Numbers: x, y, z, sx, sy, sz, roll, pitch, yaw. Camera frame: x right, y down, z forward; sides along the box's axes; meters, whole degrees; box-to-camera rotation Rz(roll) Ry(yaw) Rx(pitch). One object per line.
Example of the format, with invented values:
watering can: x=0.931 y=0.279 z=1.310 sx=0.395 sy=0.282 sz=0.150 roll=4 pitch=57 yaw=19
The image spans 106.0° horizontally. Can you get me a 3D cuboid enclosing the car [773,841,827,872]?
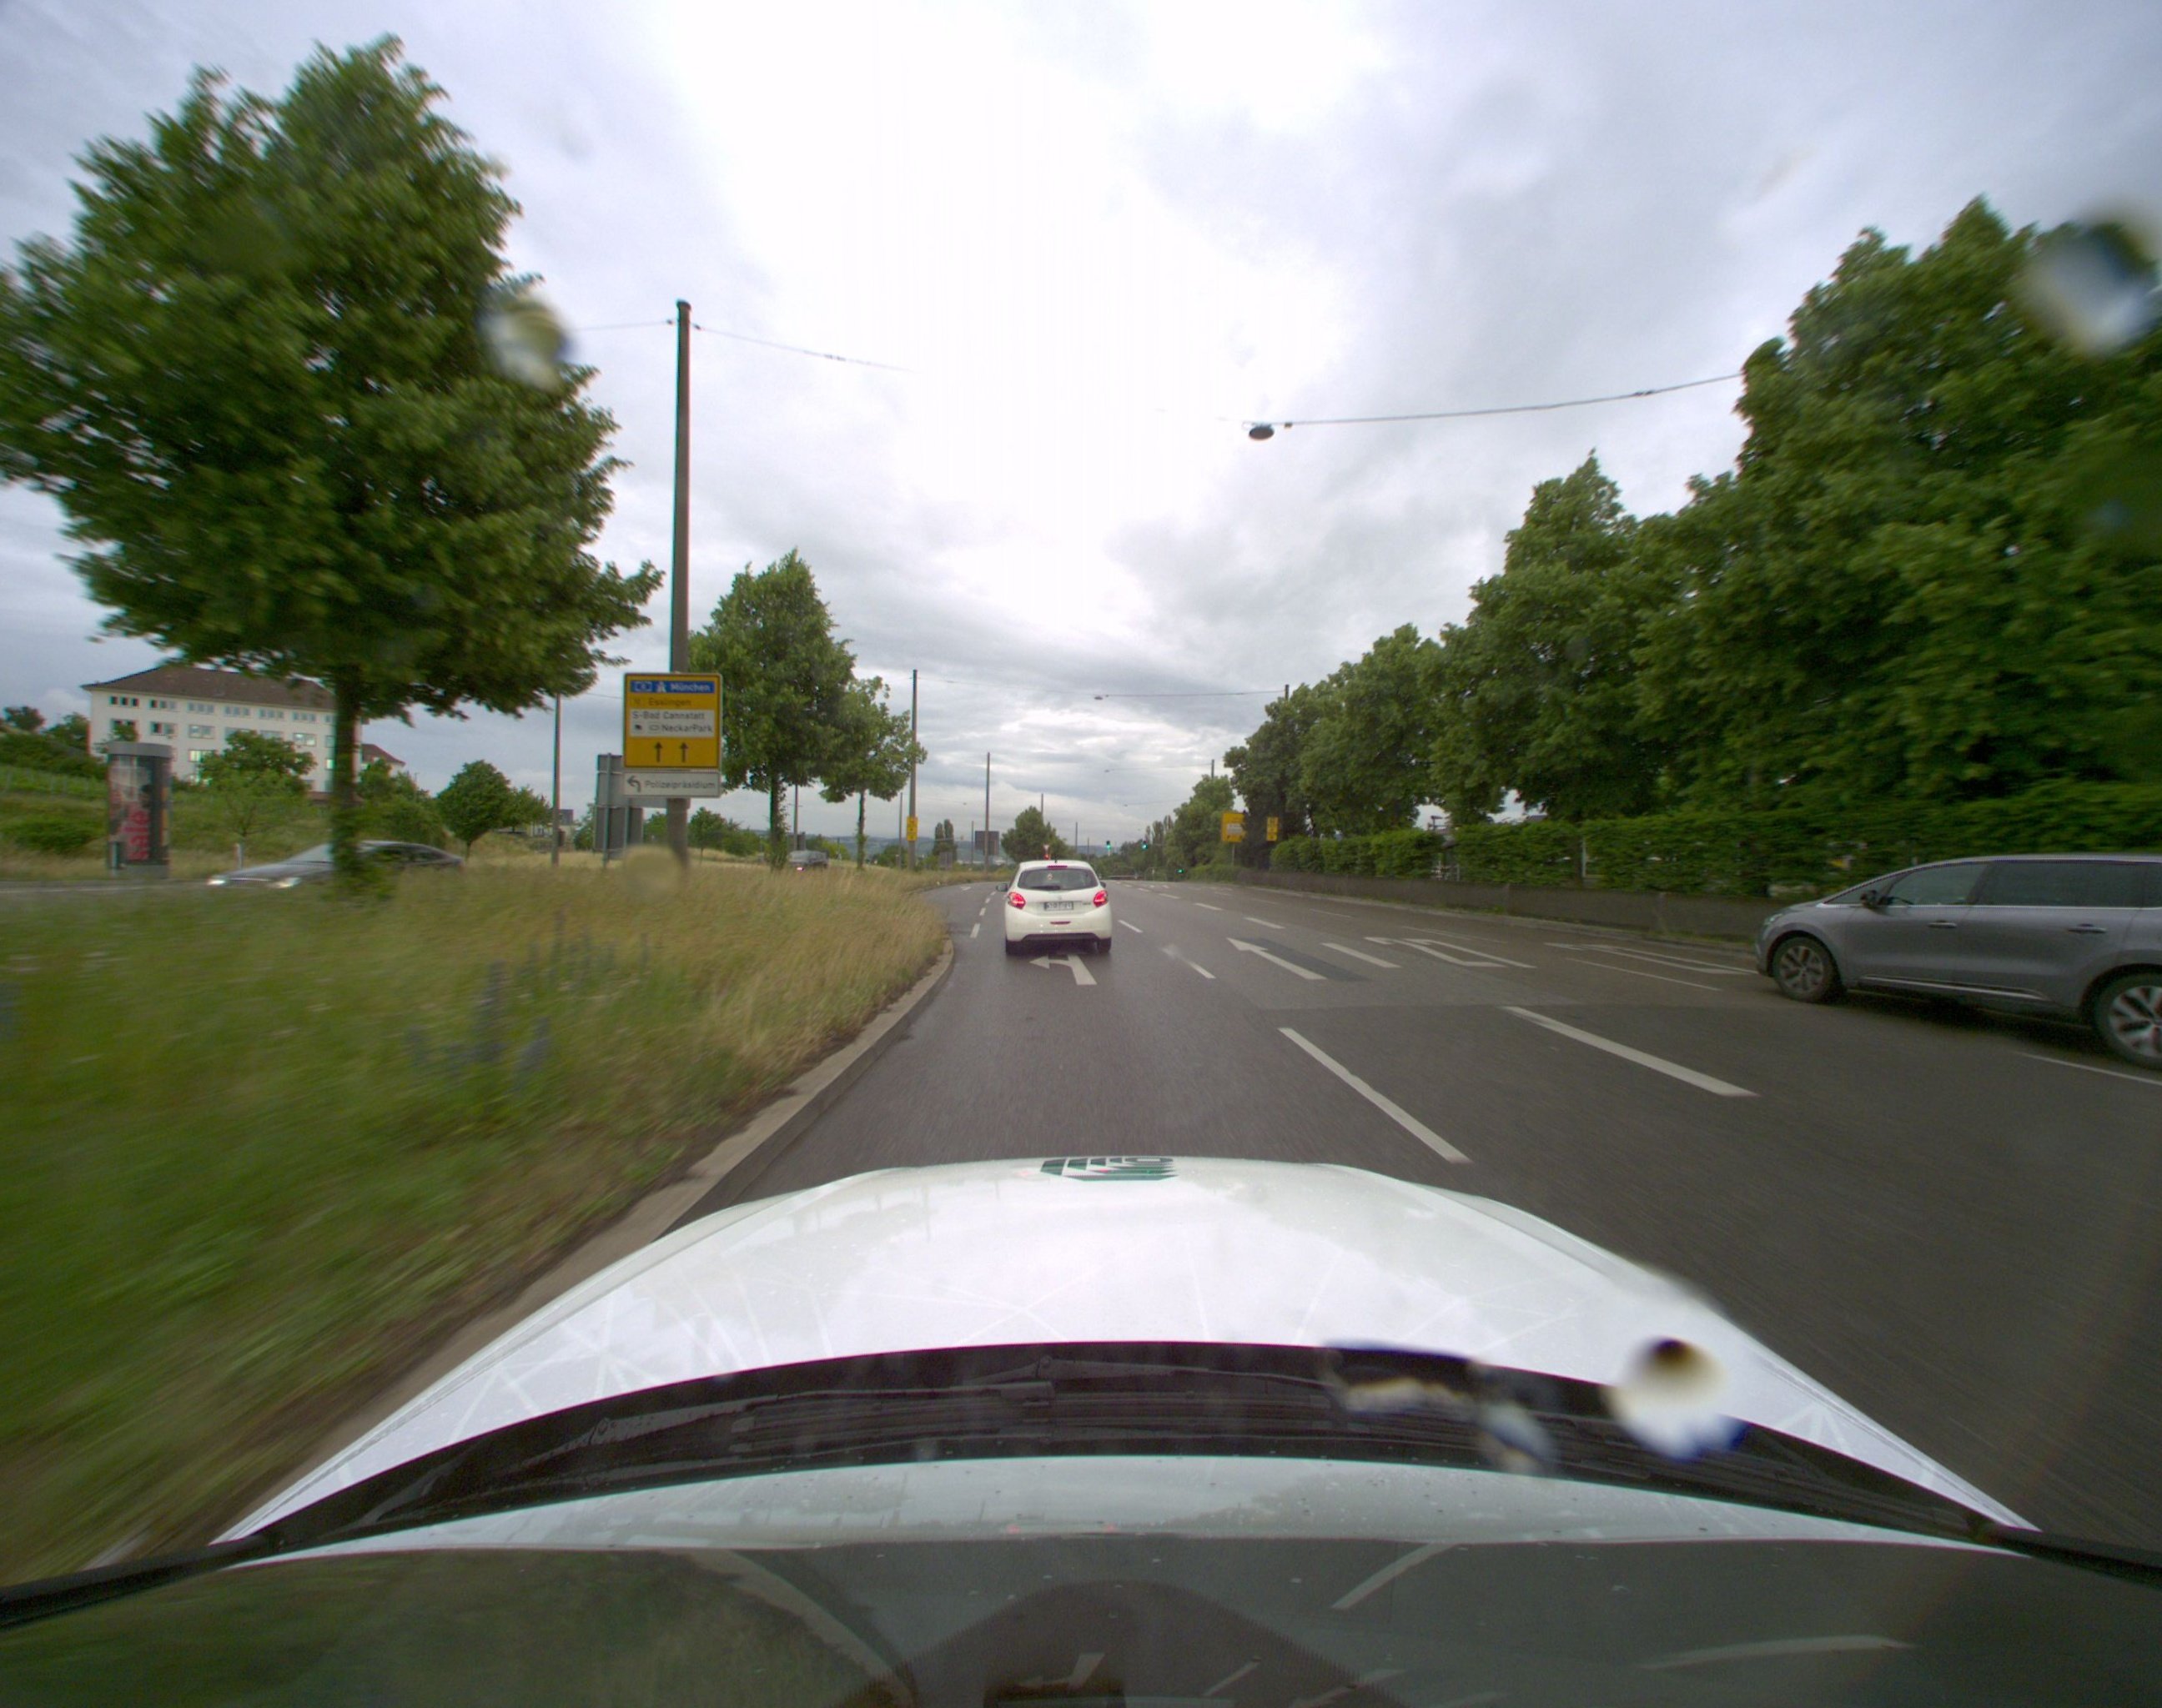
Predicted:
car: x=-16.184 y=0.154 z=47.116 sx=1.762 sy=1.750 sz=3.998 roll=1 pitch=0 yaw=-1

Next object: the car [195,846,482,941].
car: x=-14.622 y=0.716 z=16.468 sx=1.873 sy=1.654 sz=4.353 roll=1 pitch=0 yaw=-2

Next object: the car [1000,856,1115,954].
car: x=-0.402 y=0.796 z=14.076 sx=1.704 sy=1.440 sz=3.687 roll=-1 pitch=-1 yaw=-2

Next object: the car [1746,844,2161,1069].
car: x=8.812 y=0.802 z=7.428 sx=1.720 sy=1.649 sz=4.624 roll=2 pitch=-1 yaw=0
